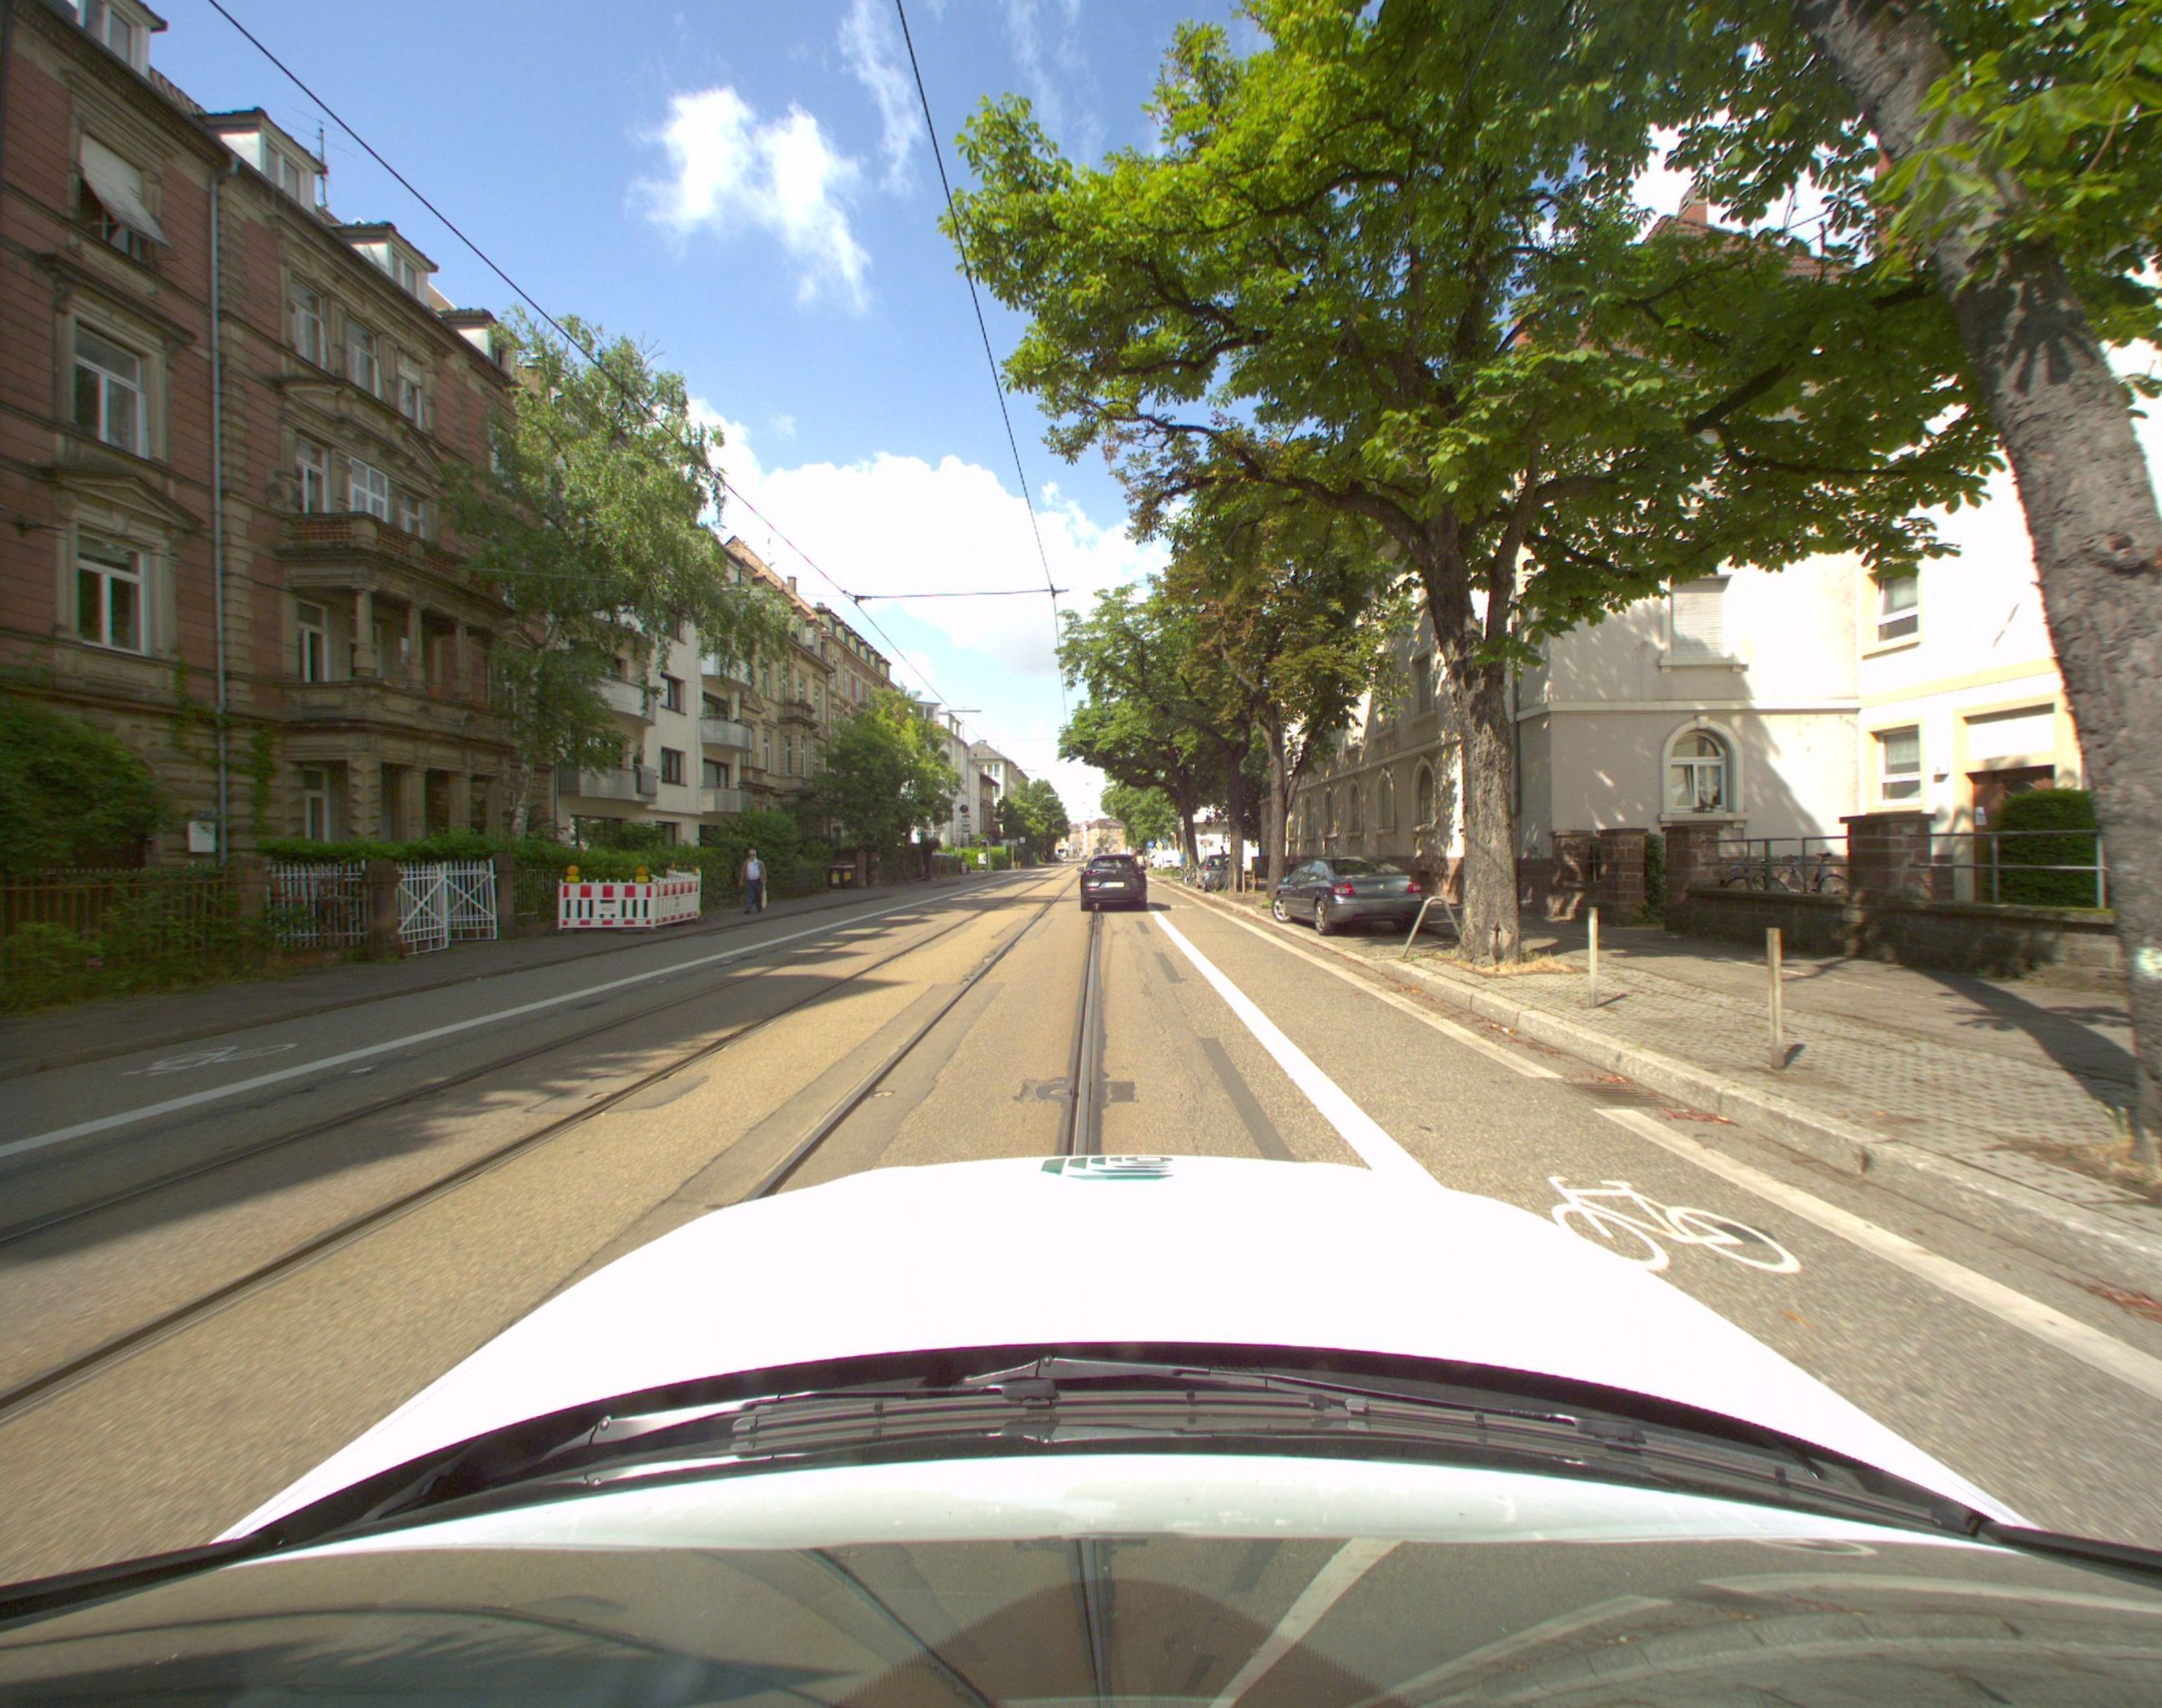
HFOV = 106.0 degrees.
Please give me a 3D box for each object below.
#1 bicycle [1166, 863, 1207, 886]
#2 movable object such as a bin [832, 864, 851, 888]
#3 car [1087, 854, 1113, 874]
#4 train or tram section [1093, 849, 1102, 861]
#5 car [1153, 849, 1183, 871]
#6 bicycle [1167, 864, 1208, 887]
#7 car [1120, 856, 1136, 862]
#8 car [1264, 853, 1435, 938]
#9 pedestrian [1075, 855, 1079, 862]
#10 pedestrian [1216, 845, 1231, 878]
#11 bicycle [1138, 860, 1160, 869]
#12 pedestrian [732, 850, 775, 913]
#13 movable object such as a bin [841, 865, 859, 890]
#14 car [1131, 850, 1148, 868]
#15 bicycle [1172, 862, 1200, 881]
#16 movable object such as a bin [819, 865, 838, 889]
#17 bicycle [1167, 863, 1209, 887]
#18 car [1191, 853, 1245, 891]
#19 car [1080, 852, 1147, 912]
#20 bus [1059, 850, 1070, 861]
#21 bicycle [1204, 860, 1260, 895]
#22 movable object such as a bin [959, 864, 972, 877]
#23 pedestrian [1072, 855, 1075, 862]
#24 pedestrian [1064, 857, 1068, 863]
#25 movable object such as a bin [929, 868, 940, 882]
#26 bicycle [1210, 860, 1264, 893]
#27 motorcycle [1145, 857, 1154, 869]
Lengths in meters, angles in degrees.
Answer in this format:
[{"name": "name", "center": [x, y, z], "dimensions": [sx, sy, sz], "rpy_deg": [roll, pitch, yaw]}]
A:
[{"name": "bicycle", "center": [5.085, 0.986, 39.204], "dimensions": [1.896, 1.072, 0.402], "rpy_deg": [-1, -1, 1]}, {"name": "movable object such as a bin", "center": [-11.140, 1.008, 37.865], "dimensions": [0.546, 1.108, 0.791], "rpy_deg": [-1, 0, 6]}, {"name": "car", "center": [1.497, 0.780, 64.235], "dimensions": [1.986, 1.529, 4.000], "rpy_deg": [1, 0, 1]}, {"name": "train or tram section", "center": [5.060, 0.292, 248.925], "dimensions": [2.562, 3.772, 13.031], "rpy_deg": [-1, 0, 2]}, {"name": "car", "center": [7.980, 0.506, 75.100], "dimensions": [1.784, 1.938, 4.982], "rpy_deg": [-1, 0, -5]}, {"name": "bicycle", "center": [5.054, 1.005, 38.791], "dimensions": [1.896, 1.072, 0.402], "rpy_deg": [-1, -1, 1]}, {"name": "car", "center": [12.475, 1.301, 217.481], "dimensions": [3.815, 1.618, 1.628], "rpy_deg": [1, 0, -17]}, {"name": "car", "center": [5.190, 0.739, 16.421], "dimensions": [1.841, 1.409, 4.391], "rpy_deg": [-3, 0, -2]}, {"name": "pedestrian", "center": [-1.161, 1.342, 230.574], "dimensions": [0.882, 2.014, 0.617], "rpy_deg": [-1, 0, -3]}, {"name": "pedestrian", "center": [8.187, 0.448, 46.793], "dimensions": [0.608, 1.836, 0.878], "rpy_deg": [-1, -2, -1]}, {"name": "bicycle", "center": [7.375, 1.128, 88.620], "dimensions": [2.267, 0.861, 0.671], "rpy_deg": [-1, 0, 0]}, {"name": "pedestrian", "center": [-9.019, 0.741, 22.447], "dimensions": [0.820, 1.706, 0.891], "rpy_deg": [-1, -1, -2]}, {"name": "movable object such as a bin", "center": [-10.690, 1.078, 37.670], "dimensions": [0.535, 1.094, 0.791], "rpy_deg": [-1, 0, 6]}, {"name": "car", "center": [6.626, 0.581, 92.541], "dimensions": [1.714, 1.968, 4.209], "rpy_deg": [-1, 0, 2]}, {"name": "bicycle", "center": [5.594, 0.913, 43.374], "dimensions": [1.485, 0.983, 0.259], "rpy_deg": [-2, -1, 3]}, {"name": "movable object such as a bin", "center": [-11.713, 1.057, 37.831], "dimensions": [0.546, 1.108, 0.791], "rpy_deg": [-1, 0, 6]}, {"name": "bicycle", "center": [5.034, 0.995, 38.309], "dimensions": [1.896, 1.072, 0.402], "rpy_deg": [-1, -1, 1]}, {"name": "car", "center": [5.616, 0.712, 33.805], "dimensions": [1.660, 1.430, 3.767], "rpy_deg": [-3, 0, 2]}, {"name": "car", "center": [0.884, 0.732, 22.908], "dimensions": [1.715, 1.526, 3.590], "rpy_deg": [-1, 0, 1]}, {"name": "bus", "center": [-5.261, 0.437, 252.275], "dimensions": [2.684, 3.421, 10.999], "rpy_deg": [1, 0, -5]}, {"name": "bicycle", "center": [5.421, 0.849, 29.307], "dimensions": [1.924, 1.176, 0.515], "rpy_deg": [-2, -1, 12]}, {"name": "movable object such as a bin", "center": [-9.096, 1.292, 64.160], "dimensions": [0.742, 0.988, 1.114], "rpy_deg": [1, 0, 1]}, {"name": "pedestrian", "center": [-2.185, 1.348, 230.468], "dimensions": [0.882, 2.014, 0.617], "rpy_deg": [-1, 0, -3]}, {"name": "pedestrian", "center": [-3.782, 1.552, 206.104], "dimensions": [0.749, 1.510, 0.823], "rpy_deg": [-1, 0, -3]}, {"name": "movable object such as a bin", "center": [-9.270, 1.310, 51.486], "dimensions": [0.560, 0.876, 0.616], "rpy_deg": [-1, 0, 1]}, {"name": "bicycle", "center": [5.704, 0.822, 29.834], "dimensions": [1.881, 1.176, 0.515], "rpy_deg": [-2, -1, 12]}, {"name": "motorcycle", "center": [7.202, 0.957, 85.649], "dimensions": [0.791, 1.271, 2.423], "rpy_deg": [-1, 0, 1]}]
